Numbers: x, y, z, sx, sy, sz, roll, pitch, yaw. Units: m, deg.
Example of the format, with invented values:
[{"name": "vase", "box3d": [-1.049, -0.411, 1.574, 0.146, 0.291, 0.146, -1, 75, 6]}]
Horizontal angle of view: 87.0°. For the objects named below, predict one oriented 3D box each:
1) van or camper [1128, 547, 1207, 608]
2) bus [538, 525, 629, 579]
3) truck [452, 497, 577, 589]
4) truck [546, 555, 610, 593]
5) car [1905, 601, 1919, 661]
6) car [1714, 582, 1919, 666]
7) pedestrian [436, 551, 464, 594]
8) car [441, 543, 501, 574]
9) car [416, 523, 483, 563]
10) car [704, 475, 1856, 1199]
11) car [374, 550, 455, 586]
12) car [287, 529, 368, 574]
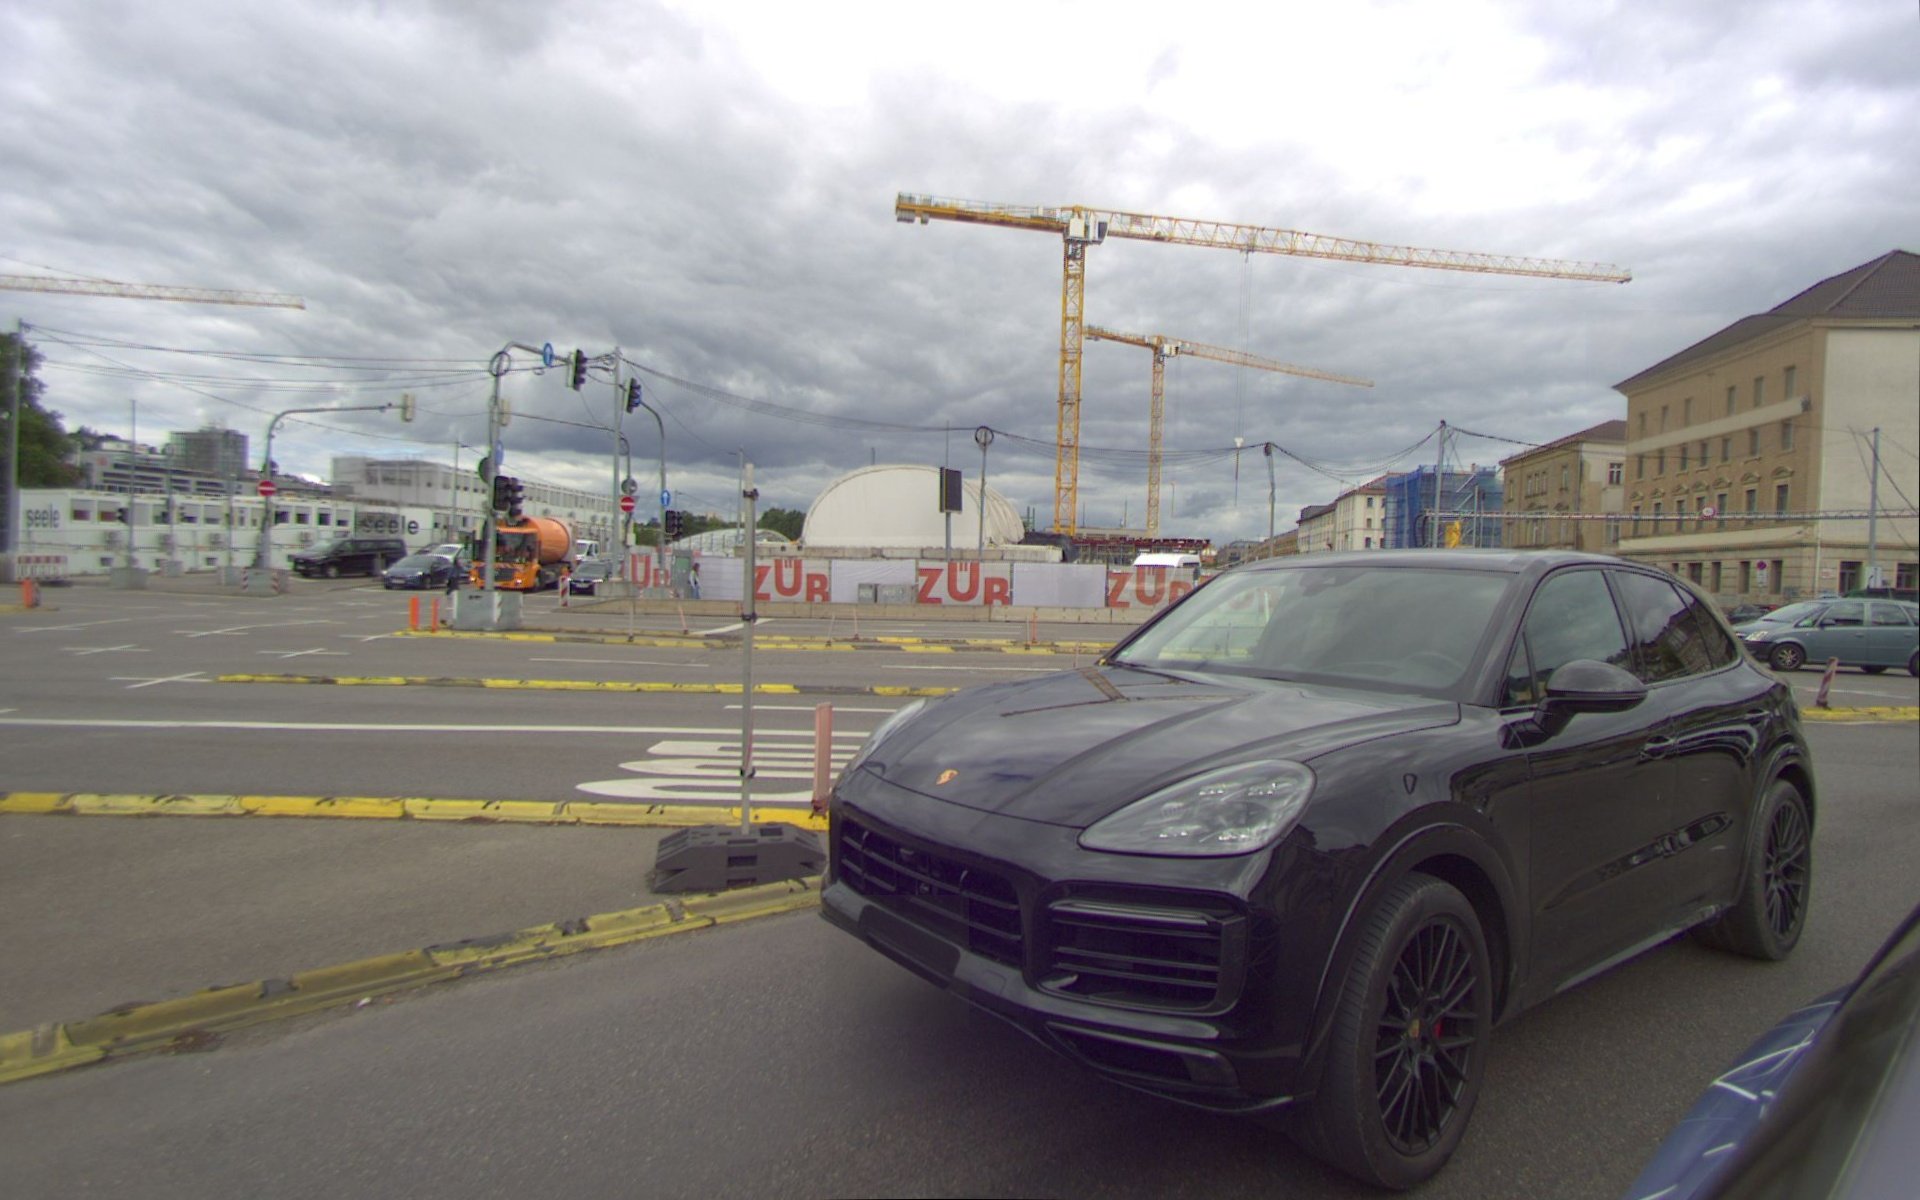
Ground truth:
[{"name": "van or camper", "box3d": [8.425, -0.959, 40.798, 1.983, 2.254, 3.960, 3, 3, 29]}, {"name": "bus", "box3d": [-25.015, -3.087, 67.738, 2.759, 3.209, 9.407, 3, 1, -2]}, {"name": "truck", "box3d": [-20.231, -2.548, 46.618, 2.851, 3.720, 9.044, 2, 2, -8]}, {"name": "truck", "box3d": [-16.784, -1.146, 44.654, 1.789, 1.559, 3.766, 1, 1, -7]}, {"name": "car", "box3d": [25.197, 0.834, 23.769, 4.023, 1.433, 1.687, 2, 1, 12]}, {"name": "car", "box3d": [18.739, 0.490, 21.535, 3.892, 1.593, 1.687, 2, 1, 10]}, {"name": "pedestrian", "box3d": [-19.419, -1.049, 38.552, 0.833, 1.611, 0.624, 1, 2, -10]}, {"name": "car", "box3d": [-24.174, -2.037, 50.174, 1.618, 1.453, 3.625, 2, 2, -8]}, {"name": "car", "box3d": [-29.205, -3.248, 58.066, 1.960, 2.039, 4.169, 2, 1, -5]}, {"name": "car", "box3d": [1.557, 0.581, 3.913, 4.522, 1.668, 1.957, 0, 2, -37]}, {"name": "car", "box3d": [-23.749, -1.400, 44.194, 1.750, 1.453, 4.075, 2, 2, -8]}, {"name": "car", "box3d": [-31.445, -2.362, 50.457, 1.959, 2.039, 4.007, 2, 1, -9]}]
